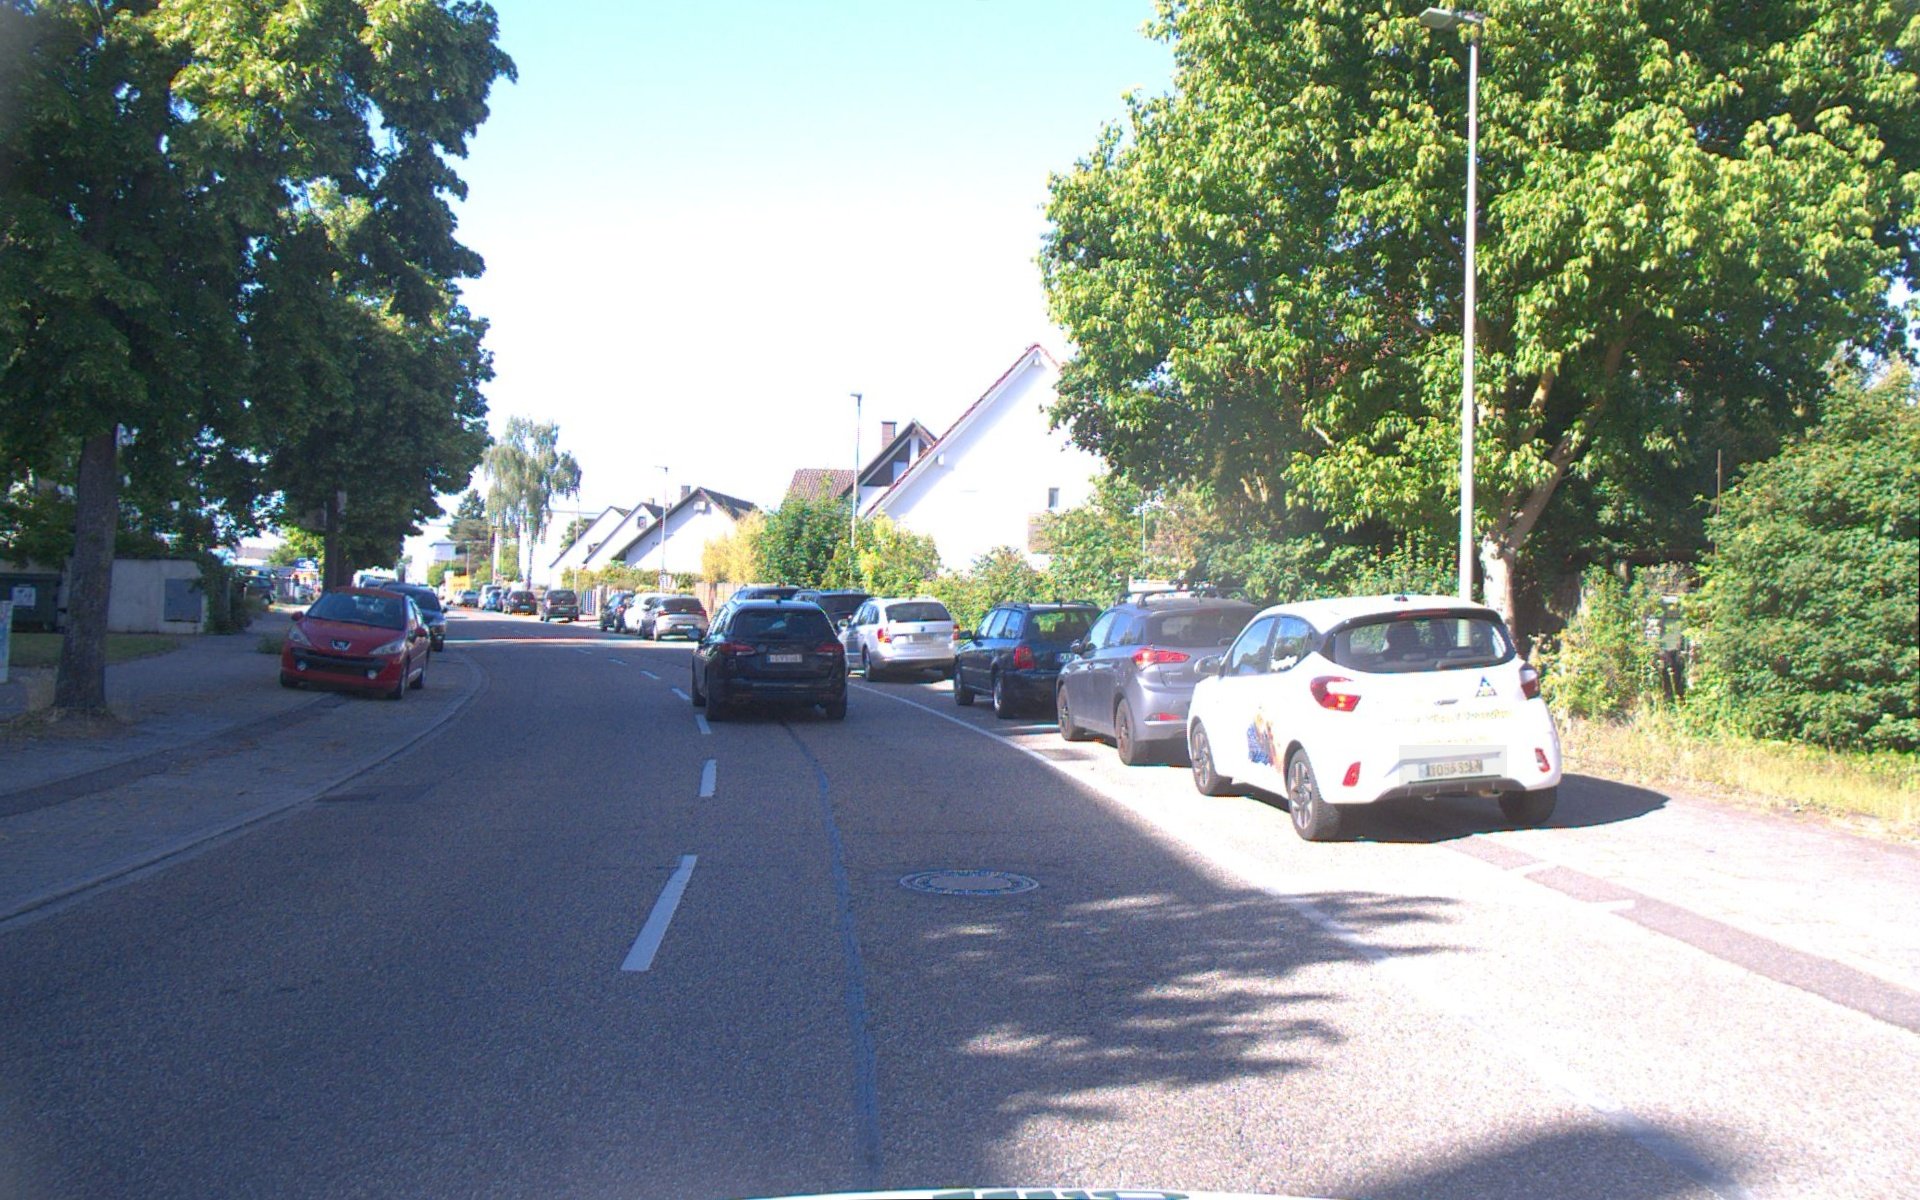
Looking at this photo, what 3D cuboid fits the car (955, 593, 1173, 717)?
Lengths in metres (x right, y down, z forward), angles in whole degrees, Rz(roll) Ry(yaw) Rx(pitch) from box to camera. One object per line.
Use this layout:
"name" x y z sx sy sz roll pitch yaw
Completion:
"car" 1.279 0.701 22.340 1.969 1.501 4.283 1 -1 -10

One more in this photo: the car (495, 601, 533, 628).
"car" -29.561 0.973 109.527 1.977 1.754 4.267 1 -1 -21

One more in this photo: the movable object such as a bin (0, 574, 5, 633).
"movable object such as a bin" -22.511 0.059 37.506 1.151 1.345 1.085 1 -2 -11

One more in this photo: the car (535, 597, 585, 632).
"car" -20.668 0.767 85.398 1.977 1.754 4.267 1 -1 -21

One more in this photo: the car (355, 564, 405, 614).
"car" -29.454 -0.566 84.097 1.876 2.207 4.271 8 -2 -16

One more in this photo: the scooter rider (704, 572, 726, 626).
"scooter rider" -9.547 -0.017 64.370 0.675 2.049 0.815 2 -3 -20

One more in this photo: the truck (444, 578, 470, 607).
"truck" -50.006 -0.697 164.300 2.173 2.645 5.113 2 -2 -20

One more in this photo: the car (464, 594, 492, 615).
"car" -41.847 0.430 143.463 1.977 1.754 4.267 1 -1 -21

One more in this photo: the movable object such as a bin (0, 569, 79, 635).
"movable object such as a bin" -21.155 0.053 37.778 1.490 1.452 1.085 1 -2 -11

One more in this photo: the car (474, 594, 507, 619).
"car" -34.658 0.477 122.082 1.977 1.754 4.267 1 -1 -21

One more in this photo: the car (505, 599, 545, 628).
"car" -27.361 0.861 103.896 1.977 1.754 4.267 1 -1 -21

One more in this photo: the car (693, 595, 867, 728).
"car" -2.465 0.747 21.729 1.731 1.517 4.276 2 -1 -13

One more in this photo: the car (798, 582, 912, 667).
"car" -2.406 0.545 36.777 1.970 1.754 4.282 1 -1 -11

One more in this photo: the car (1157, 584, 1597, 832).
"car" 2.833 0.691 12.295 1.727 1.506 4.287 1 -1 -7

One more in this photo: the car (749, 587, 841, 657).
"car" -4.308 0.558 42.691 1.870 1.695 4.177 1 -1 -13

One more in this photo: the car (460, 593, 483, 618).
"car" -43.854 0.505 148.438 1.723 2.049 3.928 2 -2 -19

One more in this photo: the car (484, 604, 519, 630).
"car" -32.454 1.196 116.989 1.977 1.754 4.267 1 -1 -21

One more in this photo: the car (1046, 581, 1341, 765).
"car" 2.209 0.657 16.896 1.875 1.628 4.286 1 0 -8

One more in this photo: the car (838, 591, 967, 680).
"car" -1.169 0.662 31.505 1.788 1.561 4.247 1 -1 -11

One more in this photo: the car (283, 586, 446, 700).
"car" -8.918 0.607 25.067 1.659 1.517 4.278 2 -1 -12

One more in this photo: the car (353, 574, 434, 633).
"car" -18.846 0.130 55.174 1.804 1.657 4.278 8 -2 -11

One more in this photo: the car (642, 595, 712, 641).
"car" -9.409 0.599 54.754 1.885 1.432 4.276 1 -1 -15

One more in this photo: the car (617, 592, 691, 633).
"car" -11.308 0.452 60.943 1.889 1.432 4.266 1 -1 -22

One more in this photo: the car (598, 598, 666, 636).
"car" -12.996 0.655 65.287 1.889 1.432 4.266 1 -1 -22

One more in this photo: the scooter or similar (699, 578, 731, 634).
"scooter or similar" -9.543 0.257 64.377 0.675 2.049 2.945 2 -2 -19
